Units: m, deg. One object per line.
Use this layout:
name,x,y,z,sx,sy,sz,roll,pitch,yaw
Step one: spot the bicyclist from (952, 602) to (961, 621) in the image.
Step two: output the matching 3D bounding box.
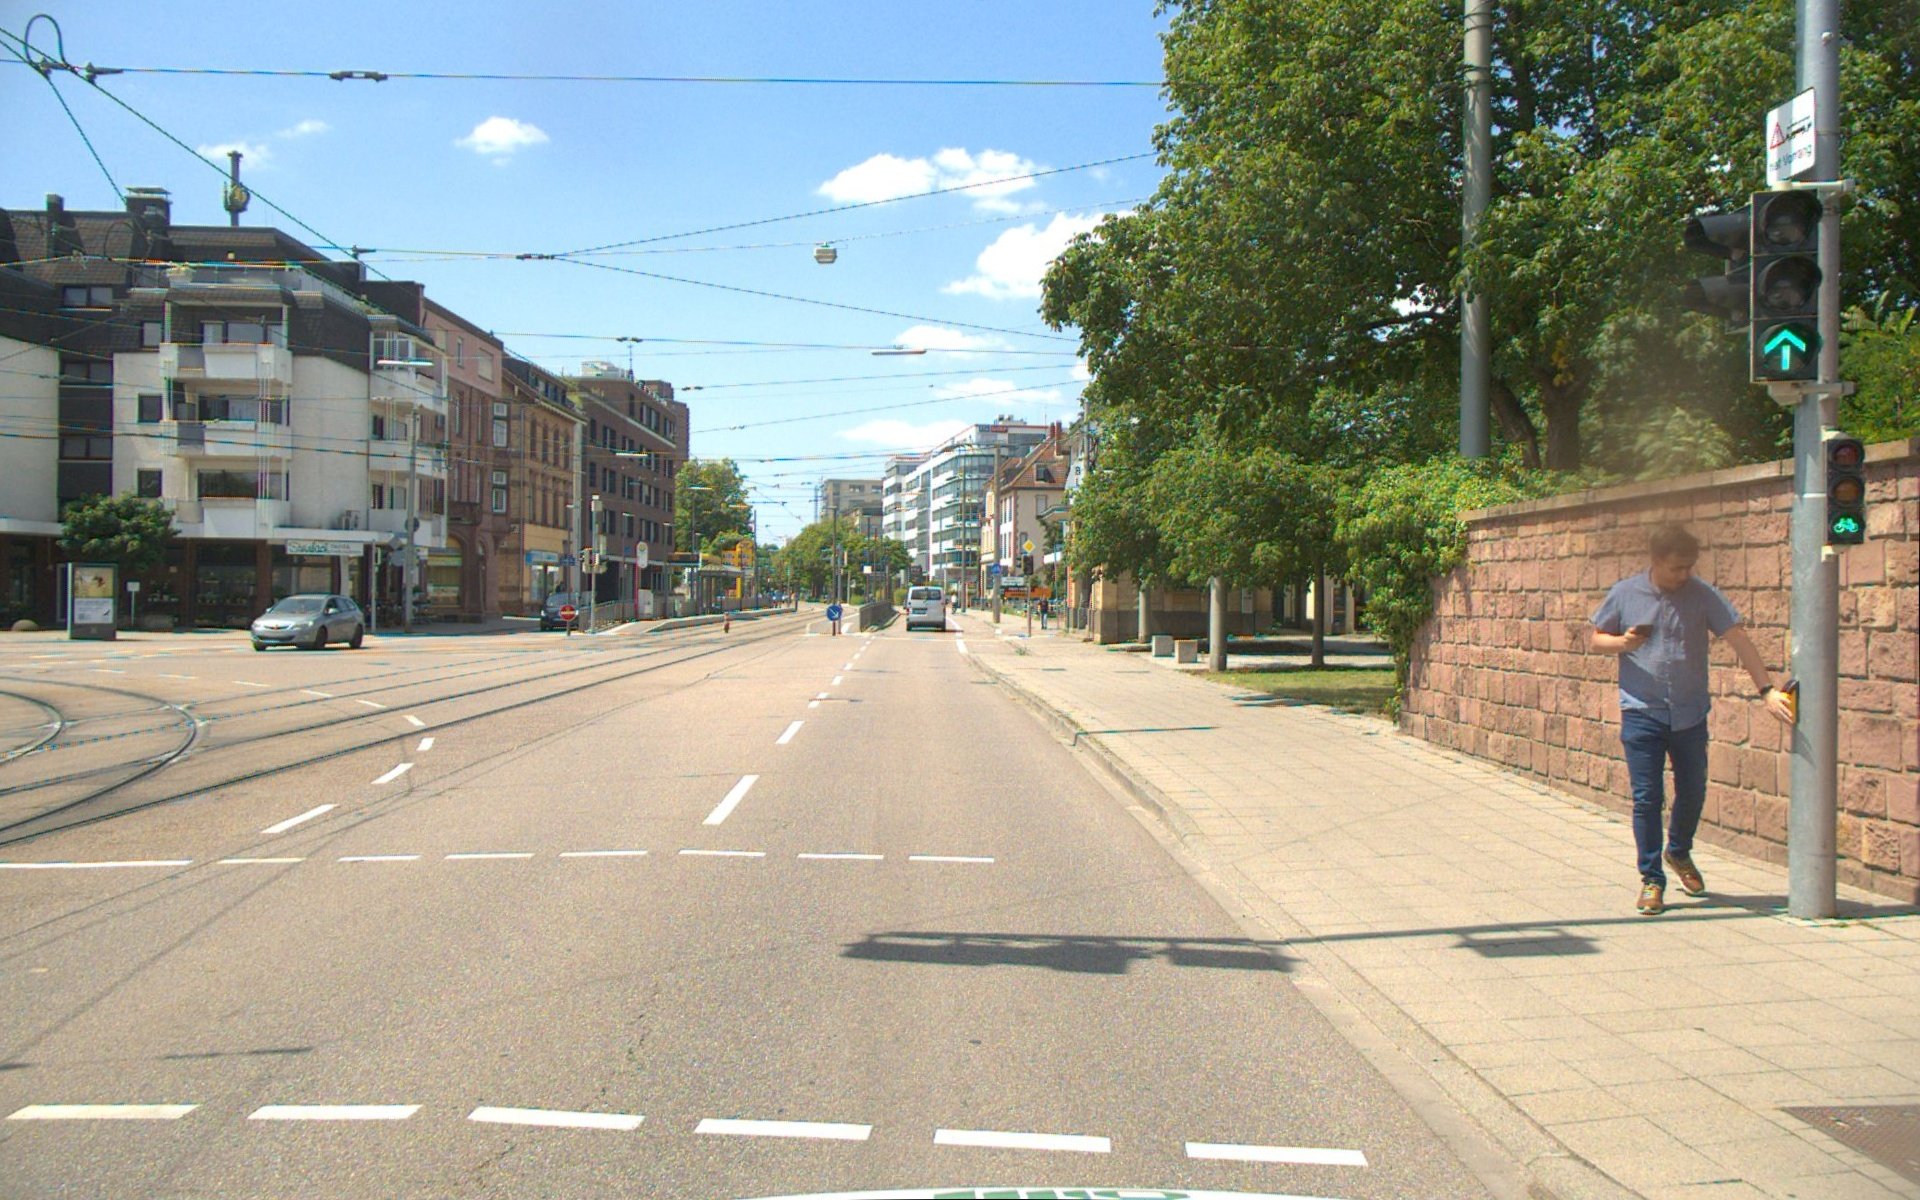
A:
bicyclist,-0.284,0.883,129.327,0.580,1.421,0.841,1,0,-5

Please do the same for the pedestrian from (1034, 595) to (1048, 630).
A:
pedestrian,3.717,0.593,75.821,0.565,1.583,0.786,-1,-1,2

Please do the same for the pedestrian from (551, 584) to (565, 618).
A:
pedestrian,-24.017,0.060,98.861,0.605,2.049,0.810,1,-1,-4

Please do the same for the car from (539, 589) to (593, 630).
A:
car,-17.476,0.389,73.505,1.690,1.712,4.275,0,1,-5

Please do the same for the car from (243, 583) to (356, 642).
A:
car,-17.731,0.325,44.611,1.957,1.497,4.390,0,0,-10

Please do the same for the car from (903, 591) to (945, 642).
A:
car,-1.526,0.690,70.576,1.717,2.049,3.999,-1,1,-1

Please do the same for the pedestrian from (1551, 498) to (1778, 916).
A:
pedestrian,3.379,0.497,8.005,0.700,1.884,0.768,-3,-1,5
